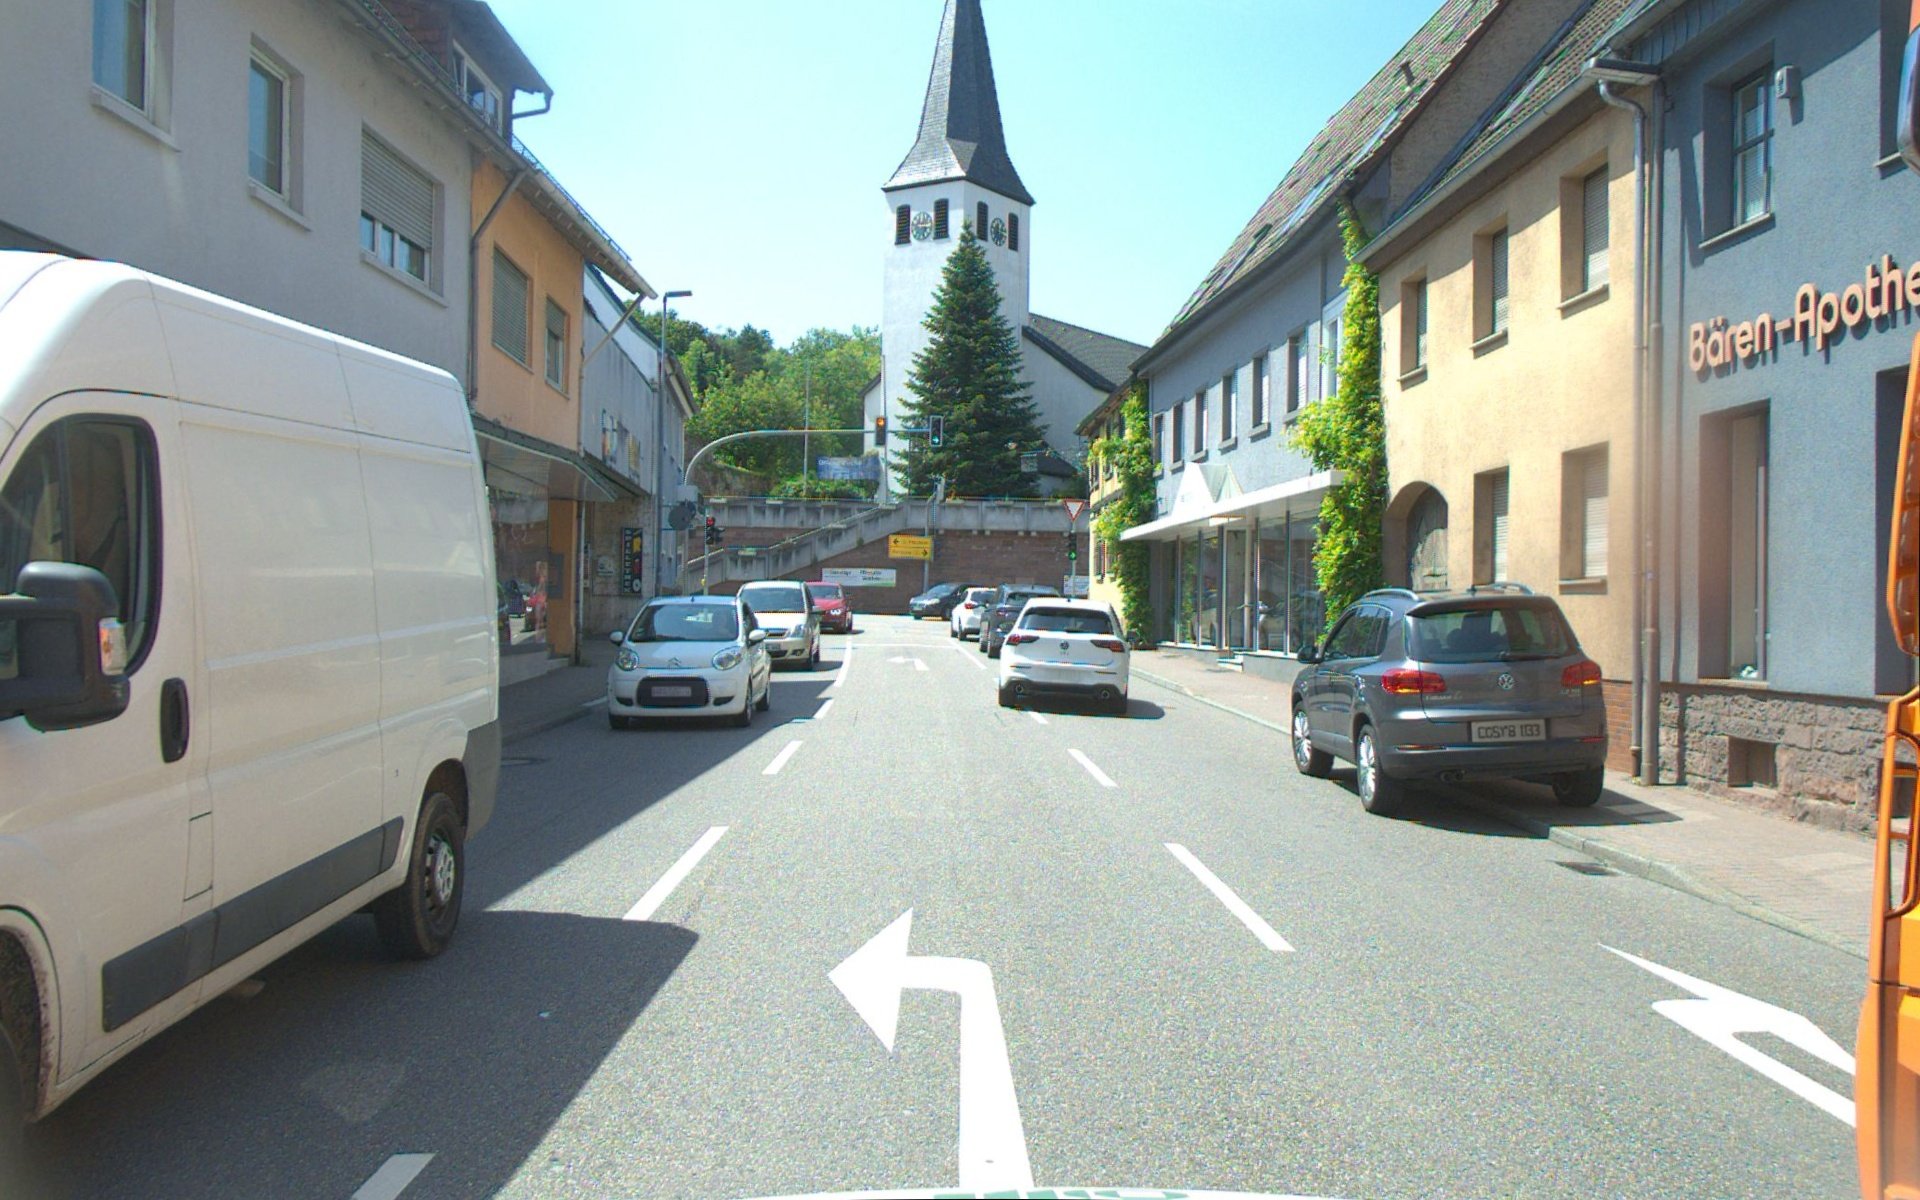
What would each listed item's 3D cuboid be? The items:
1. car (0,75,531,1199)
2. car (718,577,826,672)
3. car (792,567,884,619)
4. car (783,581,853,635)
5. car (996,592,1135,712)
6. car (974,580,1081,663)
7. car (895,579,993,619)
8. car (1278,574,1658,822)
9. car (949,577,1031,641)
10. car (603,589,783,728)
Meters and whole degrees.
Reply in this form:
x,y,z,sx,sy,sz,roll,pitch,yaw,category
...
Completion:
x,y,z,sx,sy,sz,roll,pitch,yaw,category
-3.120,0.170,5.212,2.096,2.614,5.393,-1,0,0,car
-3.525,0.410,31.575,1.645,1.645,3.820,-1,1,-1,car
-5.423,-0.299,73.504,3.909,2.049,1.998,3,-1,-5,car
-4.116,0.203,48.474,1.682,1.433,4.284,-1,1,0,car
1.492,0.661,23.030,1.745,1.484,3.865,1,0,4,car
1.473,0.436,37.609,1.911,1.609,4.323,1,2,-4,car
-0.618,-0.062,64.975,1.694,1.447,3.794,1,2,44,car
4.033,0.699,13.898,1.952,1.738,4.101,-1,0,1,car
0.804,0.215,47.154,1.911,1.609,4.323,1,2,-4,car
-3.088,0.635,19.716,1.564,1.480,3.447,-1,0,0,car
